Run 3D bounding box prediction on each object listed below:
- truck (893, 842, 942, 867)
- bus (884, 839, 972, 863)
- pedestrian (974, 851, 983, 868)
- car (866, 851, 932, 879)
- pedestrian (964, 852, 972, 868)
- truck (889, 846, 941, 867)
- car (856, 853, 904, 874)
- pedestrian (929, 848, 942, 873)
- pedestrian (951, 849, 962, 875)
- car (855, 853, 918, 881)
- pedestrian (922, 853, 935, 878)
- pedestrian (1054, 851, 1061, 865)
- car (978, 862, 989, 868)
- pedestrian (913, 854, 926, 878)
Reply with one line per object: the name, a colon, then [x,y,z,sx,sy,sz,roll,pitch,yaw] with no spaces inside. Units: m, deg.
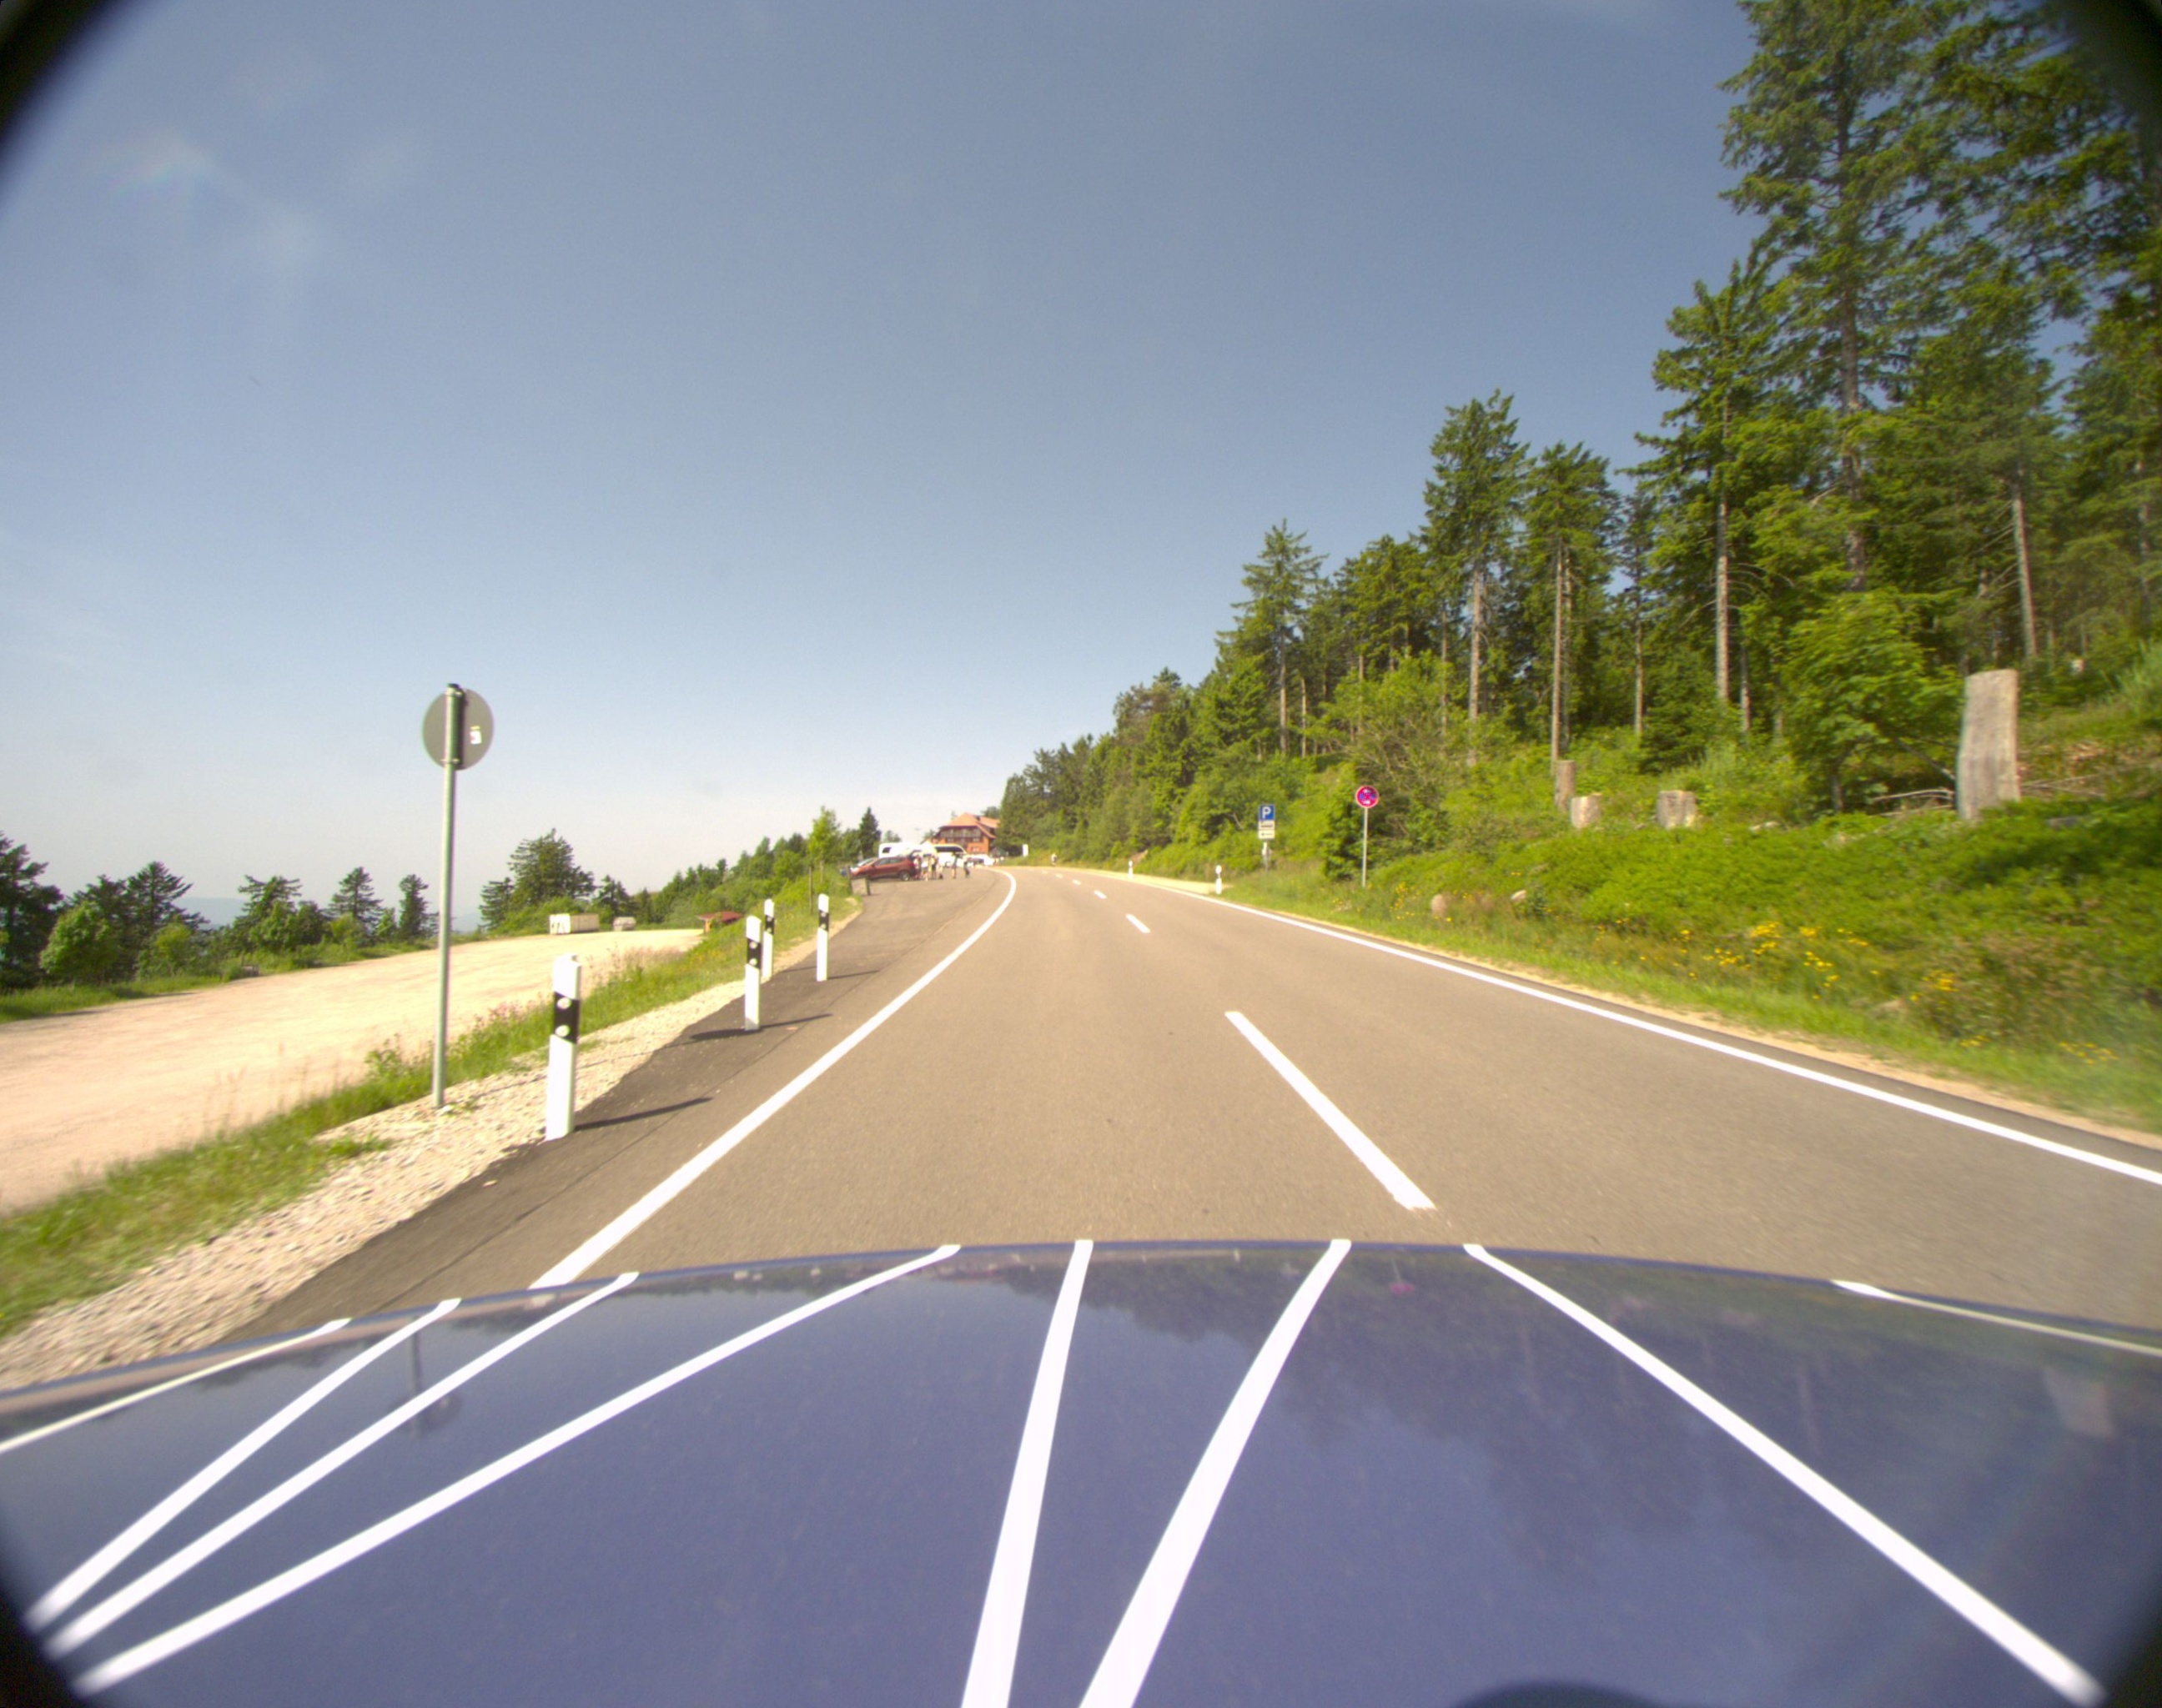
truck: [-21.310,0.081,98.997,6.086,3.177,2.529,1,0,-13]
bus: [-22.921,-0.489,114.277,12.890,3.556,2.836,0,0,-10]
pedestrian: [-10.624,0.569,78.471,0.755,1.750,0.775,0,0,3]
car: [-12.830,0.757,53.800,4.276,1.784,1.891,-1,2,-5]
pedestrian: [-11.617,0.620,78.360,0.666,1.731,0.894,0,0,3]
truck: [-20.804,0.292,95.622,6.282,2.575,2.338,0,0,-11]
car: [-17.836,0.796,67.444,4.001,1.637,1.598,-3,1,-14]
pedestrian: [-9.903,0.452,51.745,0.718,1.682,0.618,-1,1,-4]
pedestrian: [-8.474,0.556,51.652,0.618,1.765,0.723,-1,1,-3]
car: [-12.698,0.842,49.648,3.831,1.651,1.650,-3,1,-15]
pedestrian: [-10.074,0.749,50.298,0.654,1.650,0.688,0,-1,3]
pedestrian: [-2.922,0.452,95.177,0.685,1.736,0.824,-1,0,-17]
car: [-24.867,2.734,194.173,1.711,1.543,3.139,0,-1,19]
pedestrian: [-10.933,0.818,51.471,0.618,1.577,0.736,0,-1,9]
